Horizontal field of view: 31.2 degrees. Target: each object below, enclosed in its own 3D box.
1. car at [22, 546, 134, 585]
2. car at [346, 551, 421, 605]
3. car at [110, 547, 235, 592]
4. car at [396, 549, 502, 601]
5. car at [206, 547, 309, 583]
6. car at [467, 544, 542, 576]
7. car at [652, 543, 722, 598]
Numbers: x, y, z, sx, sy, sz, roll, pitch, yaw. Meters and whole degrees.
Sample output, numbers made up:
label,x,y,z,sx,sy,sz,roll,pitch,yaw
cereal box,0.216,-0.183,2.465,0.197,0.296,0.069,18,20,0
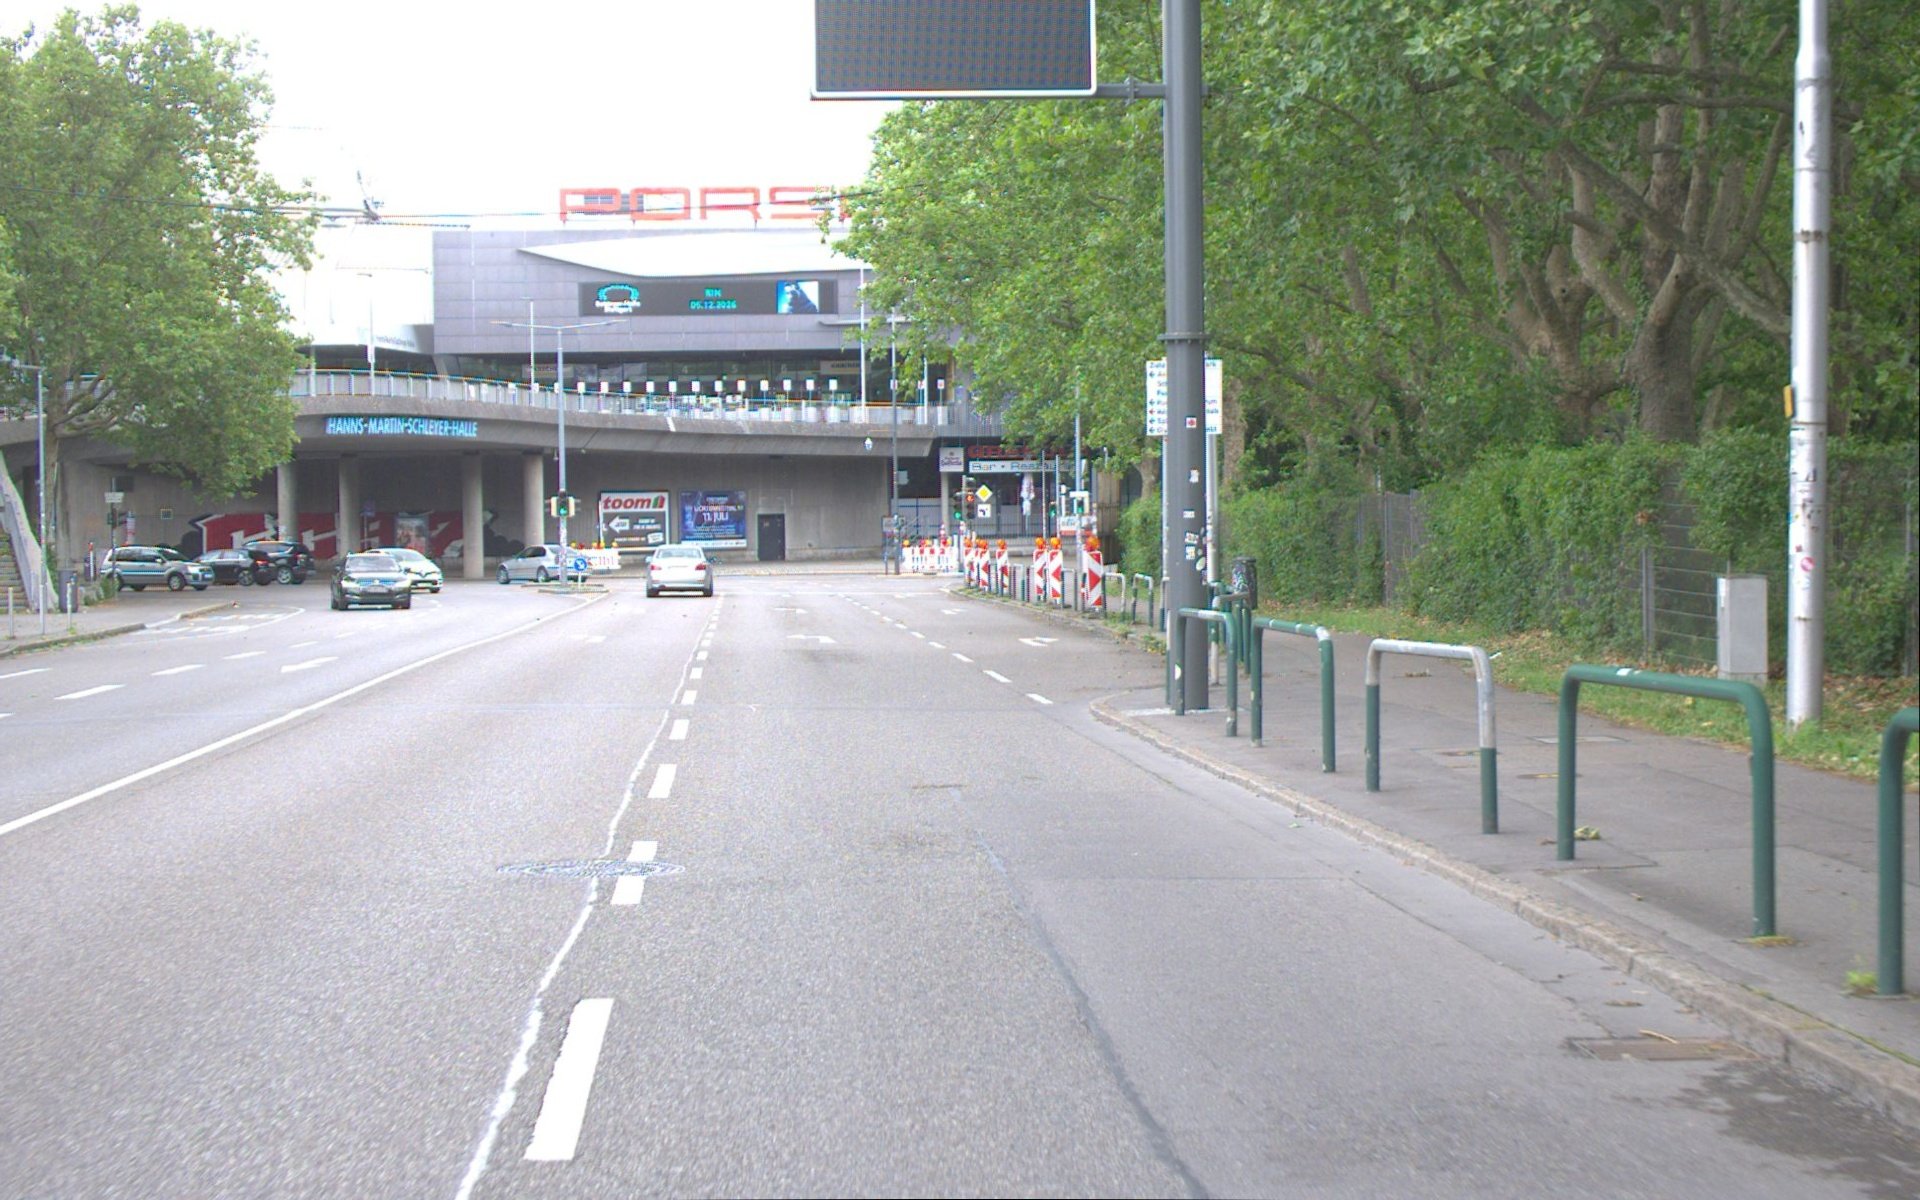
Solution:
label,x,y,z,sx,sy,sz,roll,pitch,yaw
car,-32.677,-1.284,127.388,3.643,1.368,1.749,-1,1,21
car,-14.482,-0.578,86.485,1.656,1.268,3.585,1,1,-6
car,-27.260,-1.048,119.040,3.873,1.468,1.749,-1,1,21
car,-15.855,-0.782,106.571,1.621,1.573,3.881,-2,1,-36
car,-26.385,-1.324,129.184,3.459,1.295,1.583,-1,1,21
car,-16.648,-1.467,125.544,1.411,1.109,3.037,0,1,-36
car,-7.686,-0.851,97.032,1.778,1.455,3.822,1,1,-2
